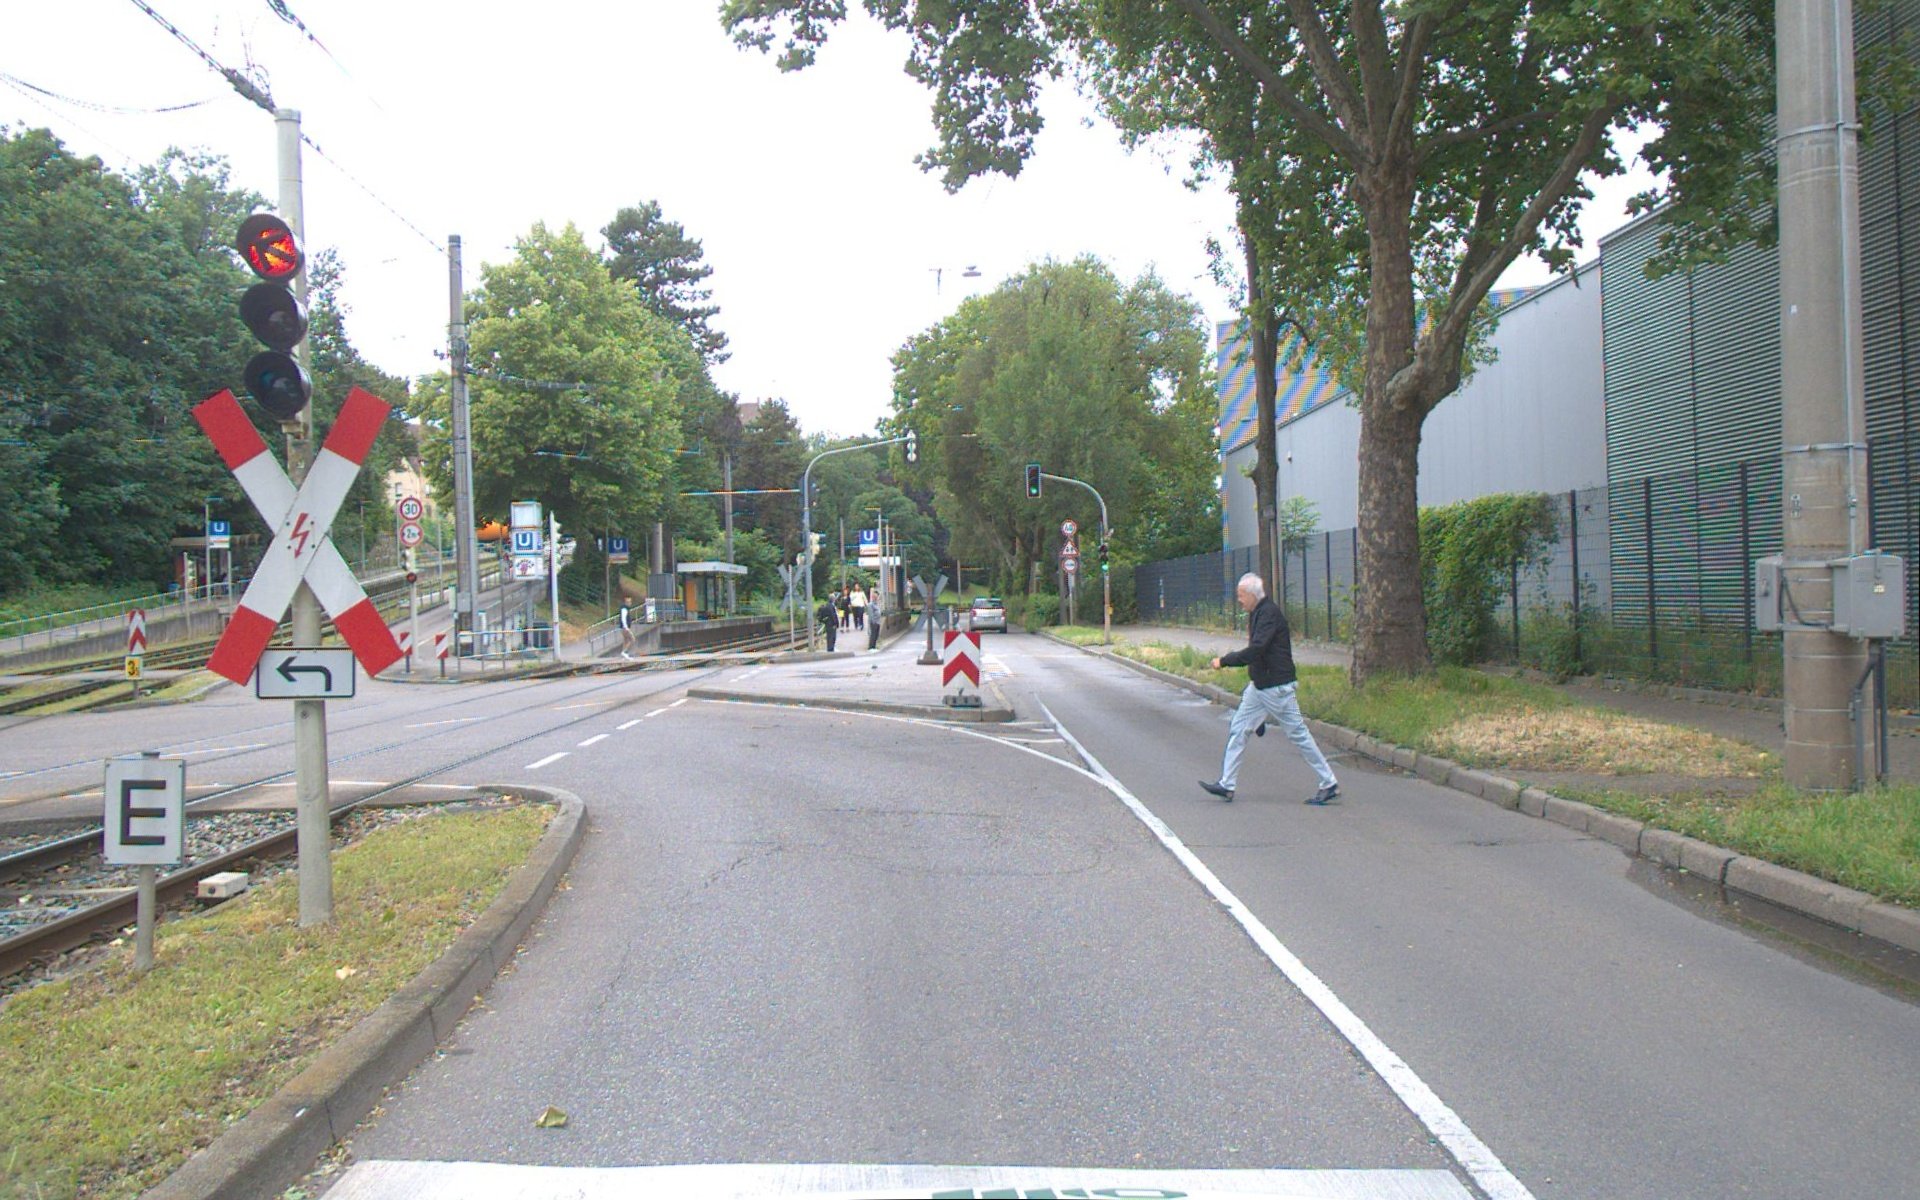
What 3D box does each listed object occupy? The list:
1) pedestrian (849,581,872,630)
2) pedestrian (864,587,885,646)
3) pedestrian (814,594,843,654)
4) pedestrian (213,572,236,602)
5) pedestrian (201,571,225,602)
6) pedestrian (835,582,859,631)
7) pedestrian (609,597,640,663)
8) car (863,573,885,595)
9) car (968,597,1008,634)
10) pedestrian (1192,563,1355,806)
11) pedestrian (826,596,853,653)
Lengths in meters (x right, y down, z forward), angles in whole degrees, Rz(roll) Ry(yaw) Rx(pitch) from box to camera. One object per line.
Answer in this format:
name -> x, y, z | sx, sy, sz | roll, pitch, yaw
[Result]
pedestrian -> -3.496, 0.195, 58.140 | 0.722, 1.694, 0.680 | 1, -1, -11
pedestrian -> -2.626, 0.507, 50.736 | 0.538, 1.789, 0.738 | 1, -1, 4
pedestrian -> -3.721, 0.672, 46.912 | 0.720, 1.694, 0.682 | 1, -1, 1
pedestrian -> -33.489, -0.599, 75.304 | 0.757, 1.349, 0.785 | 1, -1, -9
pedestrian -> -33.503, -0.604, 74.179 | 0.757, 1.349, 0.786 | 1, 2, -9
pedestrian -> -3.903, 0.226, 57.105 | 0.722, 1.694, 0.680 | 1, -1, -11
pedestrian -> -9.559, 0.857, 47.199 | 0.787, 1.853, 0.669 | 1, -1, -8
car -> -8.379, -1.533, 162.116 | 1.953, 2.049, 3.999 | 1, 0, -1
car -> 1.294, 0.733, 76.949 | 1.708, 1.627, 3.999 | 1, -1, -1
pedestrian -> 2.389, 0.627, 12.705 | 1.094, 1.791, 0.813 | 1, 0, 0
pedestrian -> -3.620, 0.725, 49.560 | 0.665, 1.694, 0.738 | 1, -1, 6
